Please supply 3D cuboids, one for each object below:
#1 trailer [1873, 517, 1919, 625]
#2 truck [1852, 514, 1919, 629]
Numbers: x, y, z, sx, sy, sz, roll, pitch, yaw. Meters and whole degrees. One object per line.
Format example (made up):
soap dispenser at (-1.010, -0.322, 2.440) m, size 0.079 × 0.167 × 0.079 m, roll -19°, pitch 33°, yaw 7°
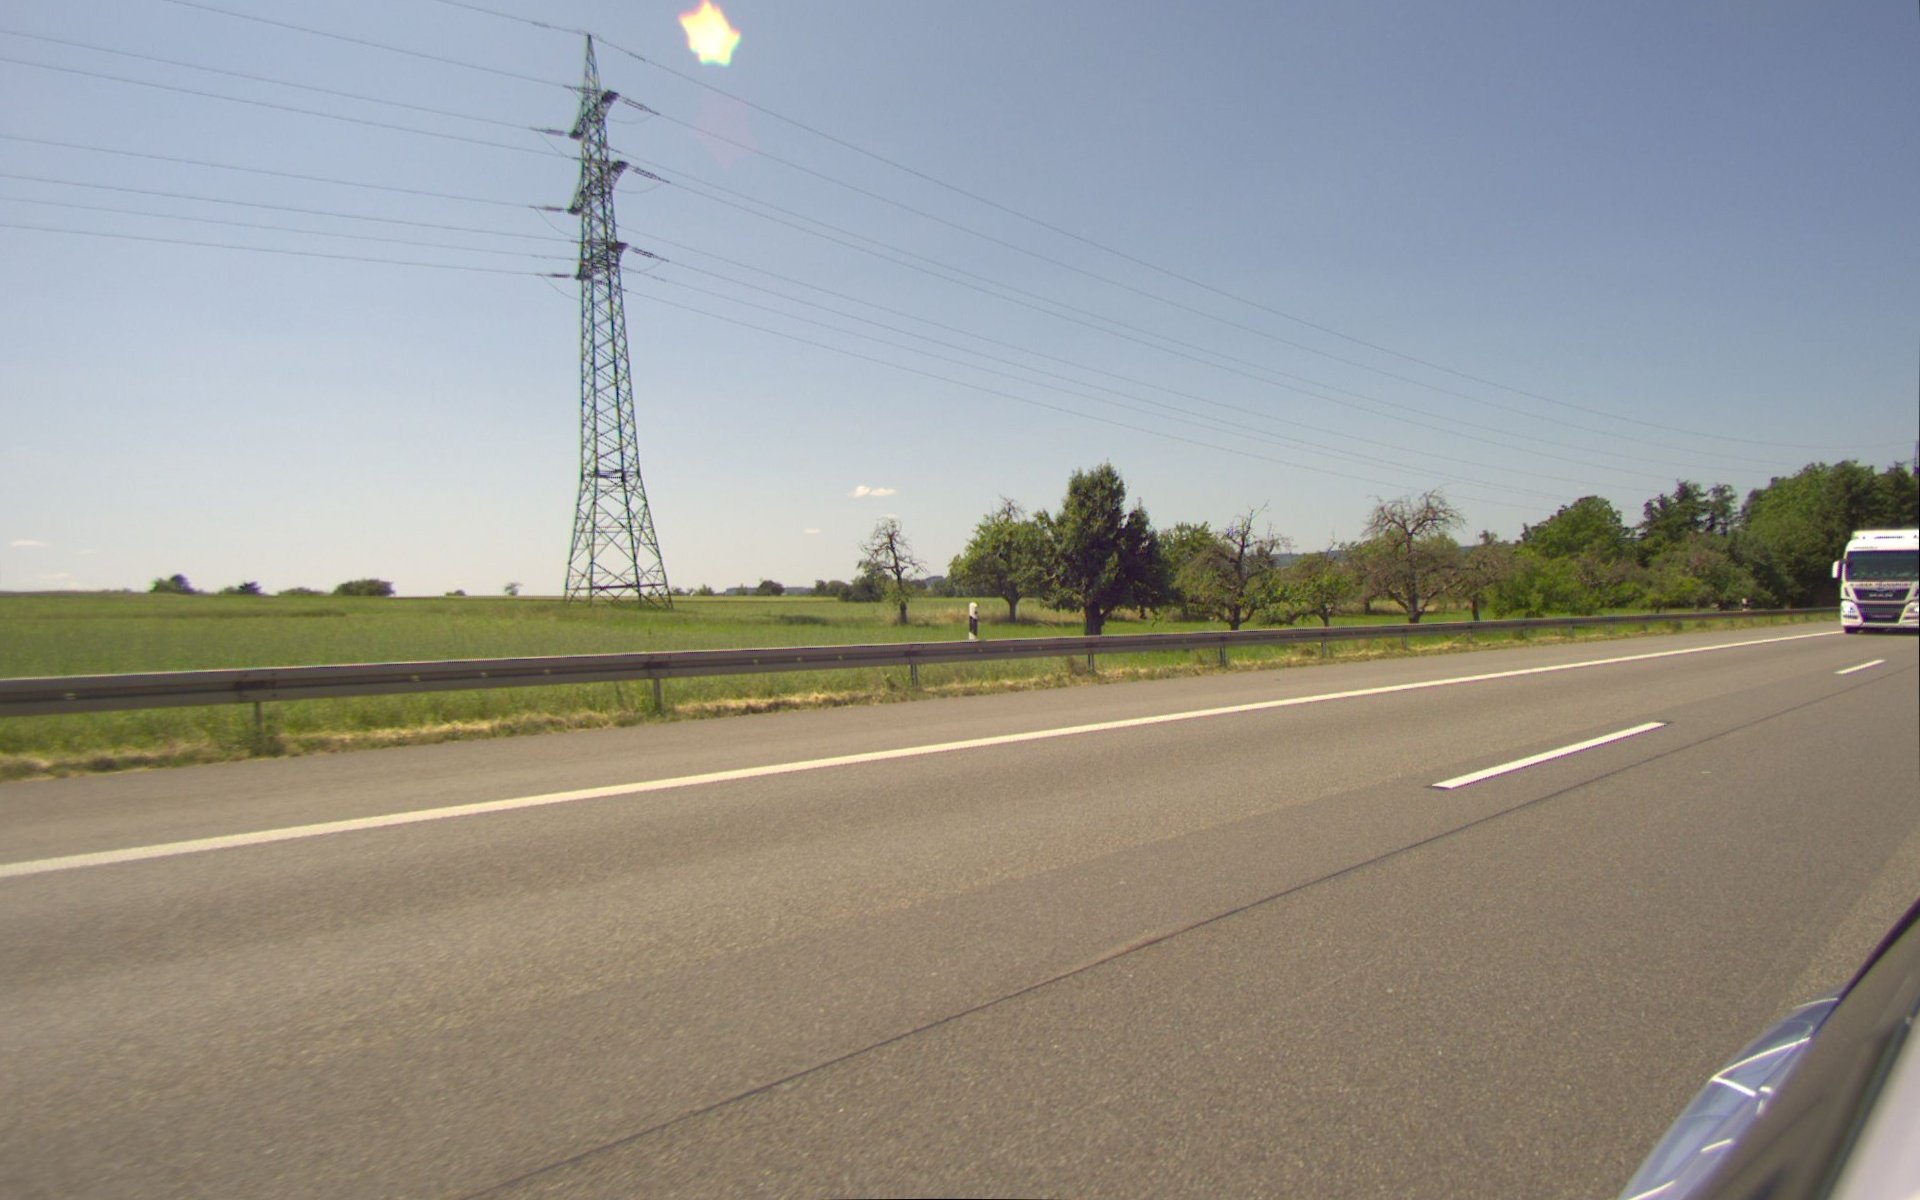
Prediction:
trailer at (43.449, -1.224, 44.773) m, size 12.799 × 4.317 × 2.607 m, roll -1°, pitch 1°, yaw -39°
truck at (37.286, -1.077, 39.694) m, size 6.137 × 4.206 × 2.566 m, roll 0°, pitch 0°, yaw -40°
